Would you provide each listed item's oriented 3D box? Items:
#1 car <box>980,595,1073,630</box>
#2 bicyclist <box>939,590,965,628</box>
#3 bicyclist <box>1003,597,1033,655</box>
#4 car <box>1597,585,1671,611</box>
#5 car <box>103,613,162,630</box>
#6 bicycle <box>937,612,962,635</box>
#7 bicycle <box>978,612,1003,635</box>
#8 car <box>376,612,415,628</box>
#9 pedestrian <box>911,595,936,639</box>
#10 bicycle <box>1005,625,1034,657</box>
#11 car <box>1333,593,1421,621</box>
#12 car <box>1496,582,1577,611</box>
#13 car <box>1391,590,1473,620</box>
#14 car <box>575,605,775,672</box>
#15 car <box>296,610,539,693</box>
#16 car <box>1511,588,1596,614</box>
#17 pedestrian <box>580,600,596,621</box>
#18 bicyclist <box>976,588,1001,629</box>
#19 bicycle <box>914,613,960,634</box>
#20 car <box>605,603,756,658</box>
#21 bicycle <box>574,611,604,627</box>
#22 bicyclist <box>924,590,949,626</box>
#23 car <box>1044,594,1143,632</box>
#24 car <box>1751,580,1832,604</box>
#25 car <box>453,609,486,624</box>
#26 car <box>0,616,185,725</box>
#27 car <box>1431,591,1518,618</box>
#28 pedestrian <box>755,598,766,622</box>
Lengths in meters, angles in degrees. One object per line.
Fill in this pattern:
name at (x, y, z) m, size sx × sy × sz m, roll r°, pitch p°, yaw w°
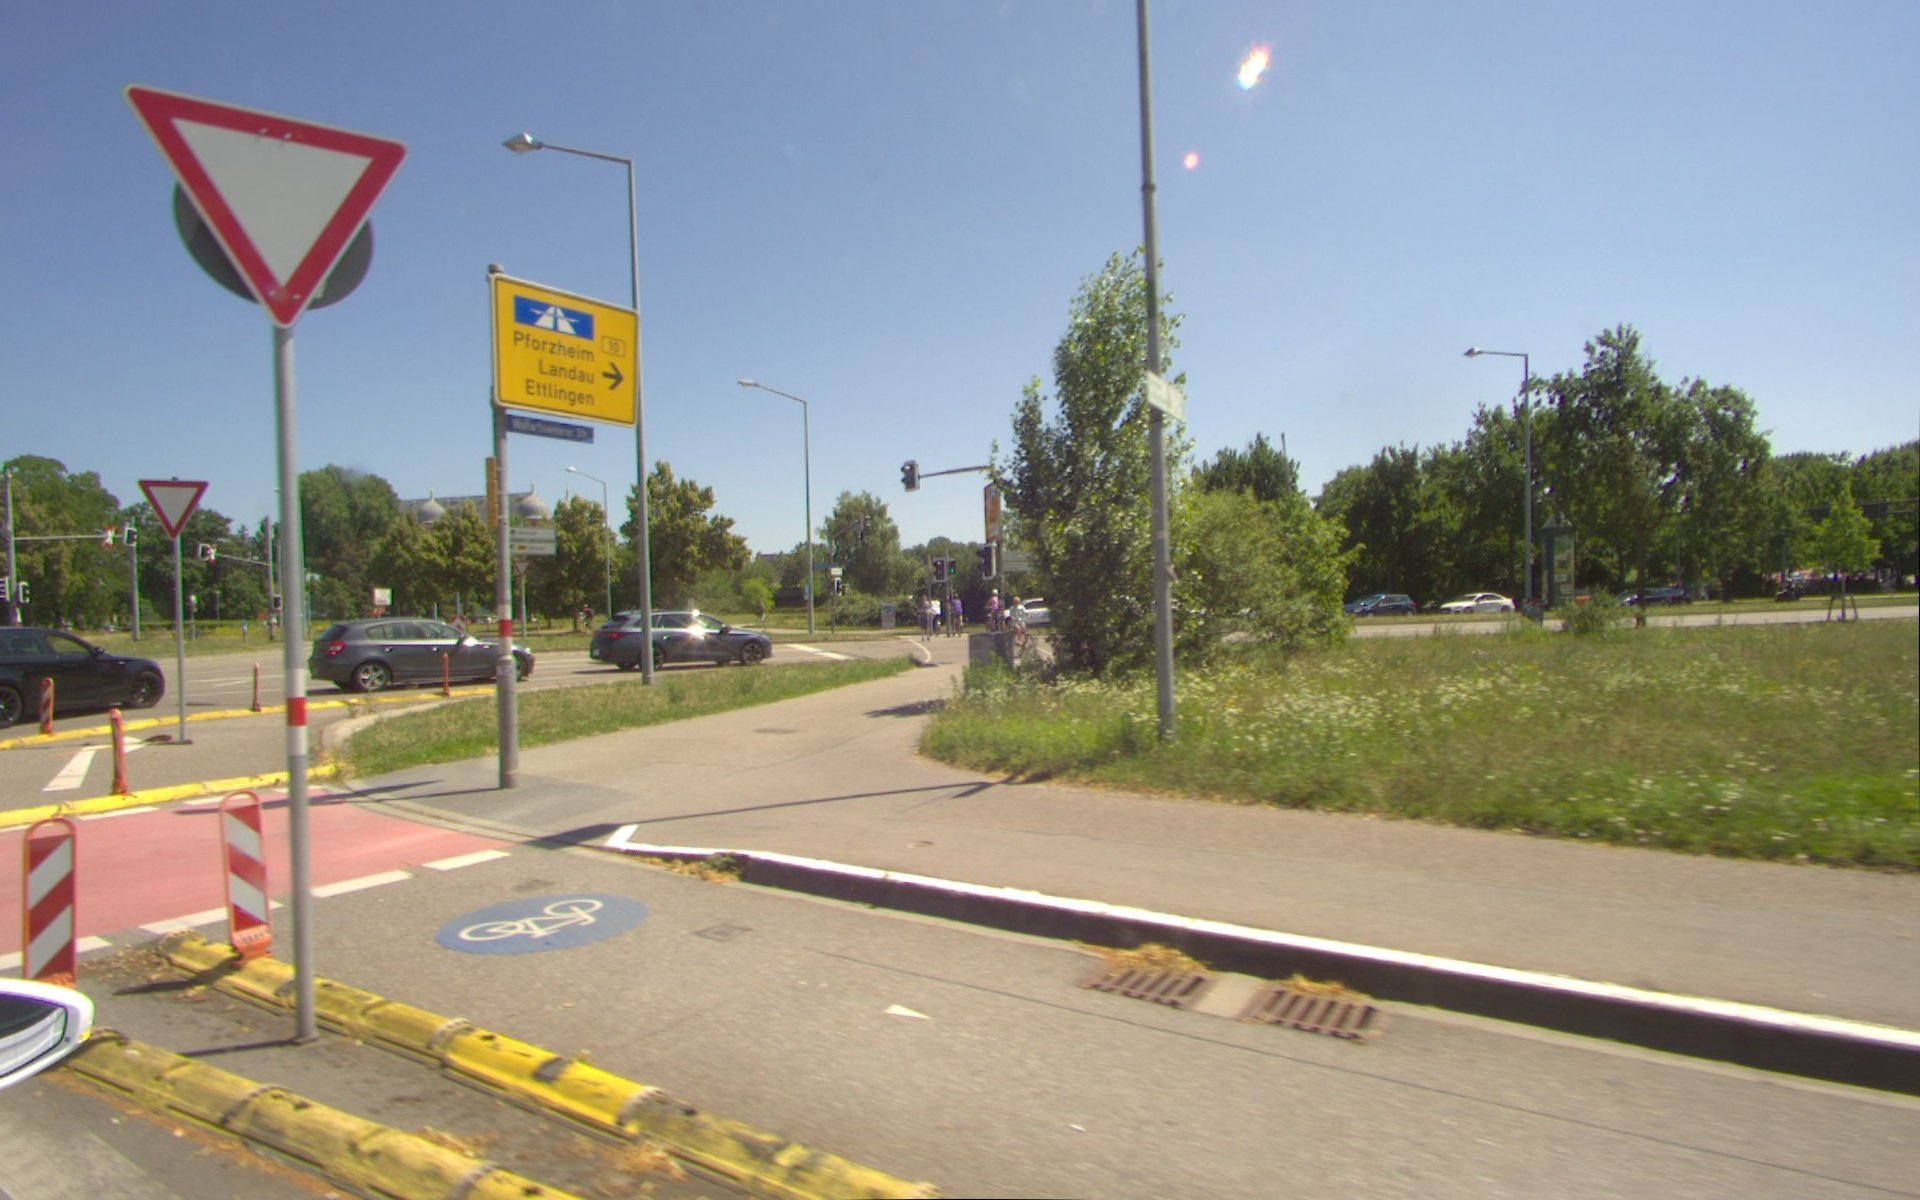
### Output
car at (3.319, 0.619, 50.240) m, size 4.328 × 1.639 × 1.862 m, roll -1°, pitch 0°, yaw -15°
bicyclist at (-0.327, 0.365, 42.158) m, size 0.941 × 1.552 × 1.185 m, roll -1°, pitch 2°, yaw 4°
bicyclist at (1.705, 0.750, 29.548) m, size 0.734 × 1.662 × 1.163 m, roll -1°, pitch 1°, yaw -2°
car at (40.952, -0.132, 60.863) m, size 3.729 × 1.494 × 1.718 m, roll 0°, pitch -1°, yaw -16°
car at (-80.285, 2.108, 97.190) m, size 3.933 × 1.594 × 1.995 m, roll 0°, pitch -1°, yaw -21°
bicycle at (-0.429, 0.991, 42.343) m, size 0.881 × 0.913 × 1.761 m, roll 0°, pitch 1°, yaw 5°
bicycle at (1.229, 0.952, 40.465) m, size 0.881 × 0.912 × 2.226 m, roll 0°, pitch -1°, yaw -1°
car at (-71.977, 2.542, 127.728) m, size 3.930 × 2.039 × 1.997 m, roll 0°, pitch -1°, yaw -18°
pedestrian at (-1.389, 0.651, 38.235) m, size 0.743 × 1.658 × 0.955 m, roll -1°, pitch -1°, yaw -14°
bicycle at (1.766, 1.207, 29.754) m, size 0.617 × 0.891 × 1.876 m, roll -1°, pitch 0°, yaw -4°
car at (23.311, 0.392, 55.974) m, size 4.328 × 1.441 × 1.862 m, roll -1°, pitch 0°, yaw -15°
car at (36.220, -0.209, 62.924) m, size 4.328 × 1.706 × 1.862 m, roll -1°, pitch 0°, yaw -15°
car at (28.627, 0.304, 60.760) m, size 4.328 × 1.706 × 1.862 m, roll -1°, pitch 0°, yaw -15°
car at (-7.081, 0.901, 25.138) m, size 4.403 × 1.437 × 1.984 m, roll -1°, pitch 1°, yaw -39°
car at (-11.067, 0.974, 20.624) m, size 1.734 × 1.422 × 4.043 m, roll 0°, pitch 1°, yaw 43°
car at (35.327, 0.062, 59.625) m, size 4.328 × 1.441 × 1.862 m, roll -1°, pitch 0°, yaw -15°
pedestrian at (-26.417, 0.741, 71.066) m, size 0.804 × 1.469 × 0.708 m, roll -1°, pitch -1°, yaw 23°
bicyclist at (1.158, 0.338, 40.499) m, size 0.941 × 1.631 × 1.186 m, roll -1°, pitch 0°, yaw -1°
bicycle at (-1.077, 1.067, 45.827) m, size 0.731 × 0.924 × 2.913 m, roll 0°, pitch -2°, yaw -32°
car at (-8.191, 0.848, 29.416) m, size 3.942 × 1.441 × 1.772 m, roll -1°, pitch 1°, yaw -31°
bicycle at (-26.327, 1.347, 71.054) m, size 2.024 × 1.129 × 0.728 m, roll -1°, pitch -1°, yaw 23°
bicyclist at (-1.068, 0.374, 45.811) m, size 0.746 × 1.635 × 0.972 m, roll 0°, pitch -1°, yaw -32°
car at (6.382, 0.591, 48.136) m, size 4.328 × 1.706 × 1.862 m, roll -1°, pitch 0°, yaw -15°
car at (53.510, -0.504, 64.430) m, size 4.328 × 1.441 × 1.862 m, roll -1°, pitch 0°, yaw -15°
car at (-69.623, 2.407, 142.230) m, size 3.930 × 2.039 × 1.997 m, roll 0°, pitch -1°, yaw -18°
car at (-14.230, 1.007, 15.218) m, size 1.768 × 1.459 × 3.999 m, roll 0°, pitch 0°, yaw 0°
car at (29.735, 0.266, 57.882) m, size 4.328 × 1.441 × 1.862 m, roll -1°, pitch 0°, yaw -15°
pedestrian at (-15.170, 0.759, 76.226) m, size 0.564 × 1.753 × 0.674 m, roll -1°, pitch -1°, yaw 16°
